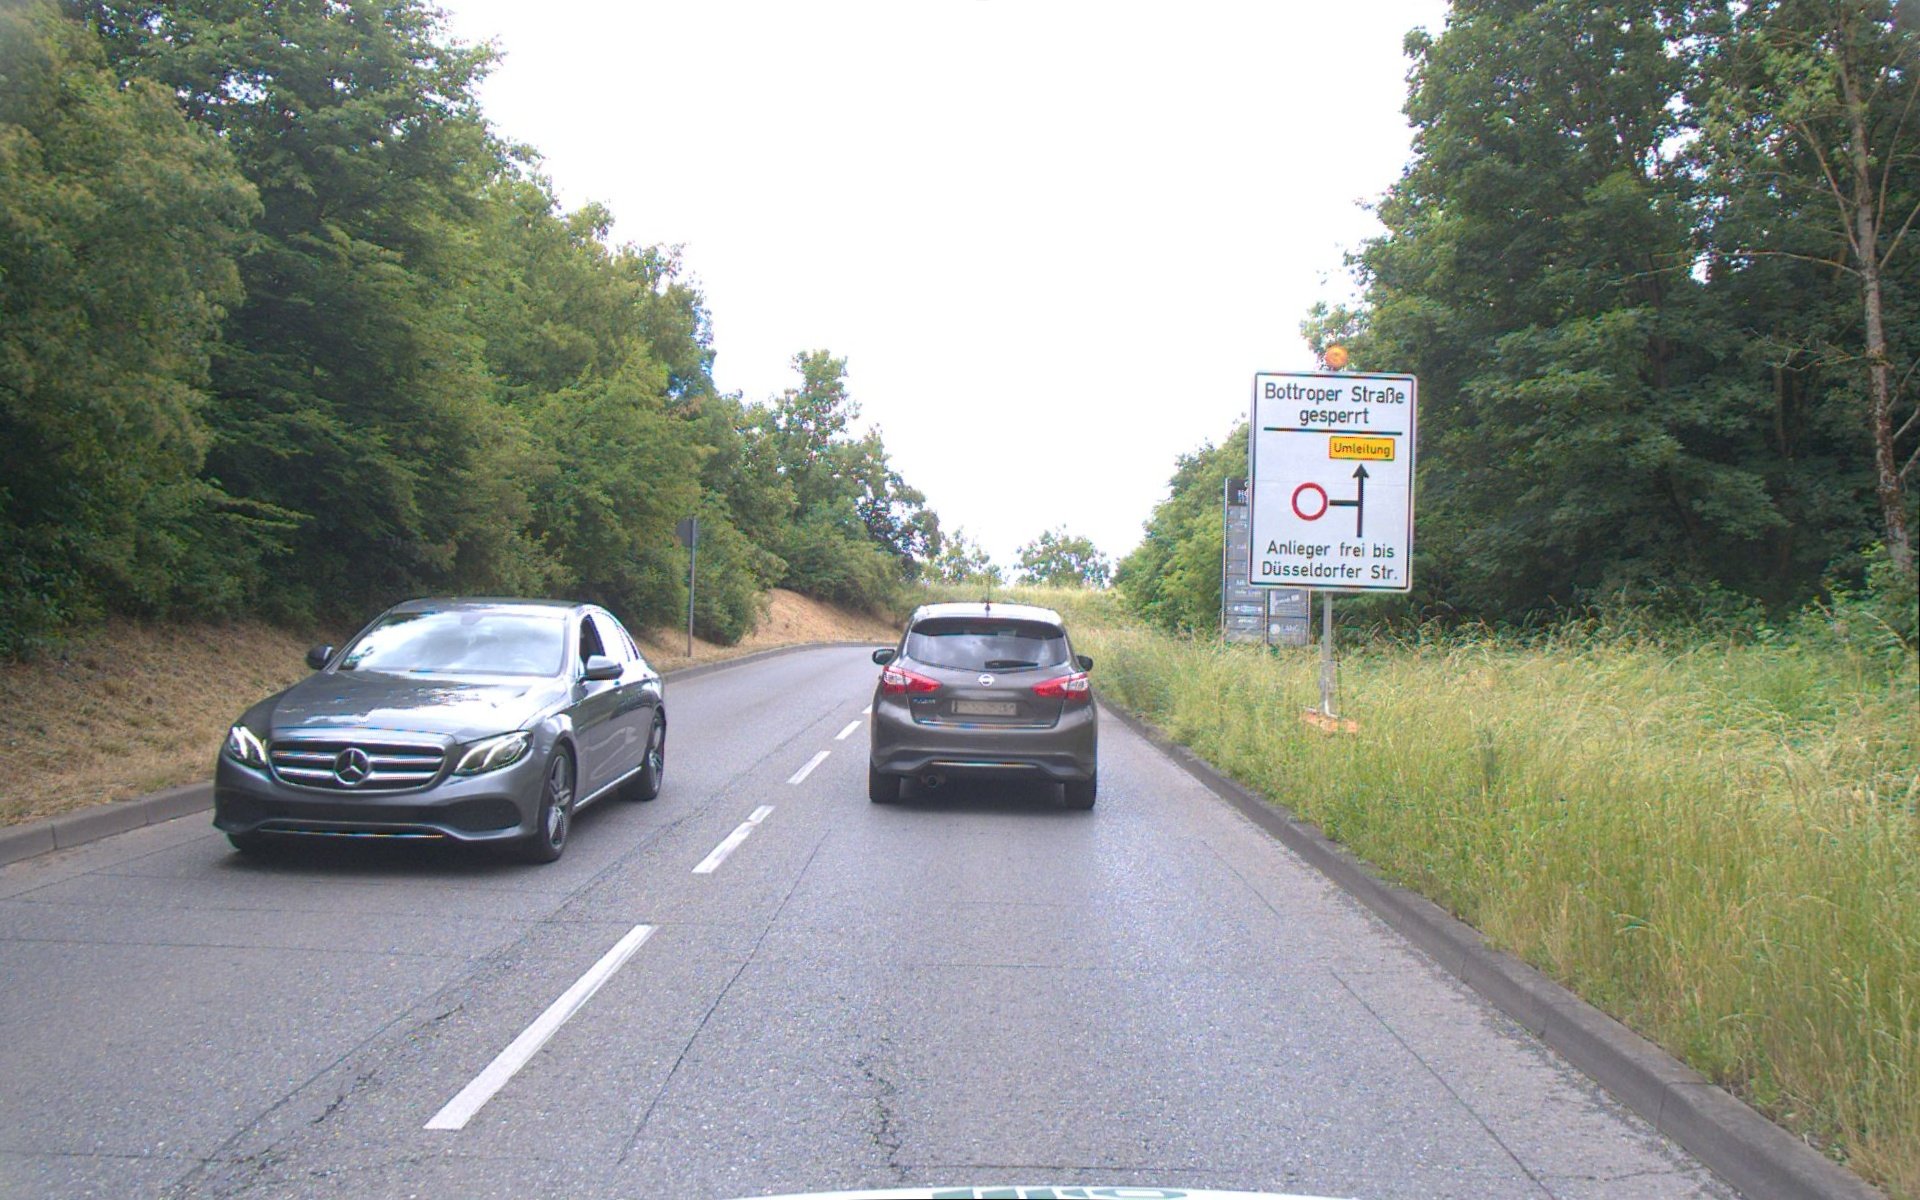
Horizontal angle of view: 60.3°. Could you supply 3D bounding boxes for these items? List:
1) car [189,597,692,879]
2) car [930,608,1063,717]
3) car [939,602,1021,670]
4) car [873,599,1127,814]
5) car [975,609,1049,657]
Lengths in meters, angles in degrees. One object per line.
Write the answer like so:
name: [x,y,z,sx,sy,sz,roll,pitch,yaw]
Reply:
car: [-3.053,0.718,10.788,1.793,1.430,4.432,1,0,1]
car: [0.486,0.910,25.854,1.808,1.519,4.225,1,0,-3]
car: [0.516,0.820,39.088,1.684,1.521,3.579,1,0,5]
car: [0.213,0.765,13.852,1.807,1.519,3.998,1,0,-2]
car: [1.684,1.000,52.213,1.759,1.422,4.003,1,0,10]
